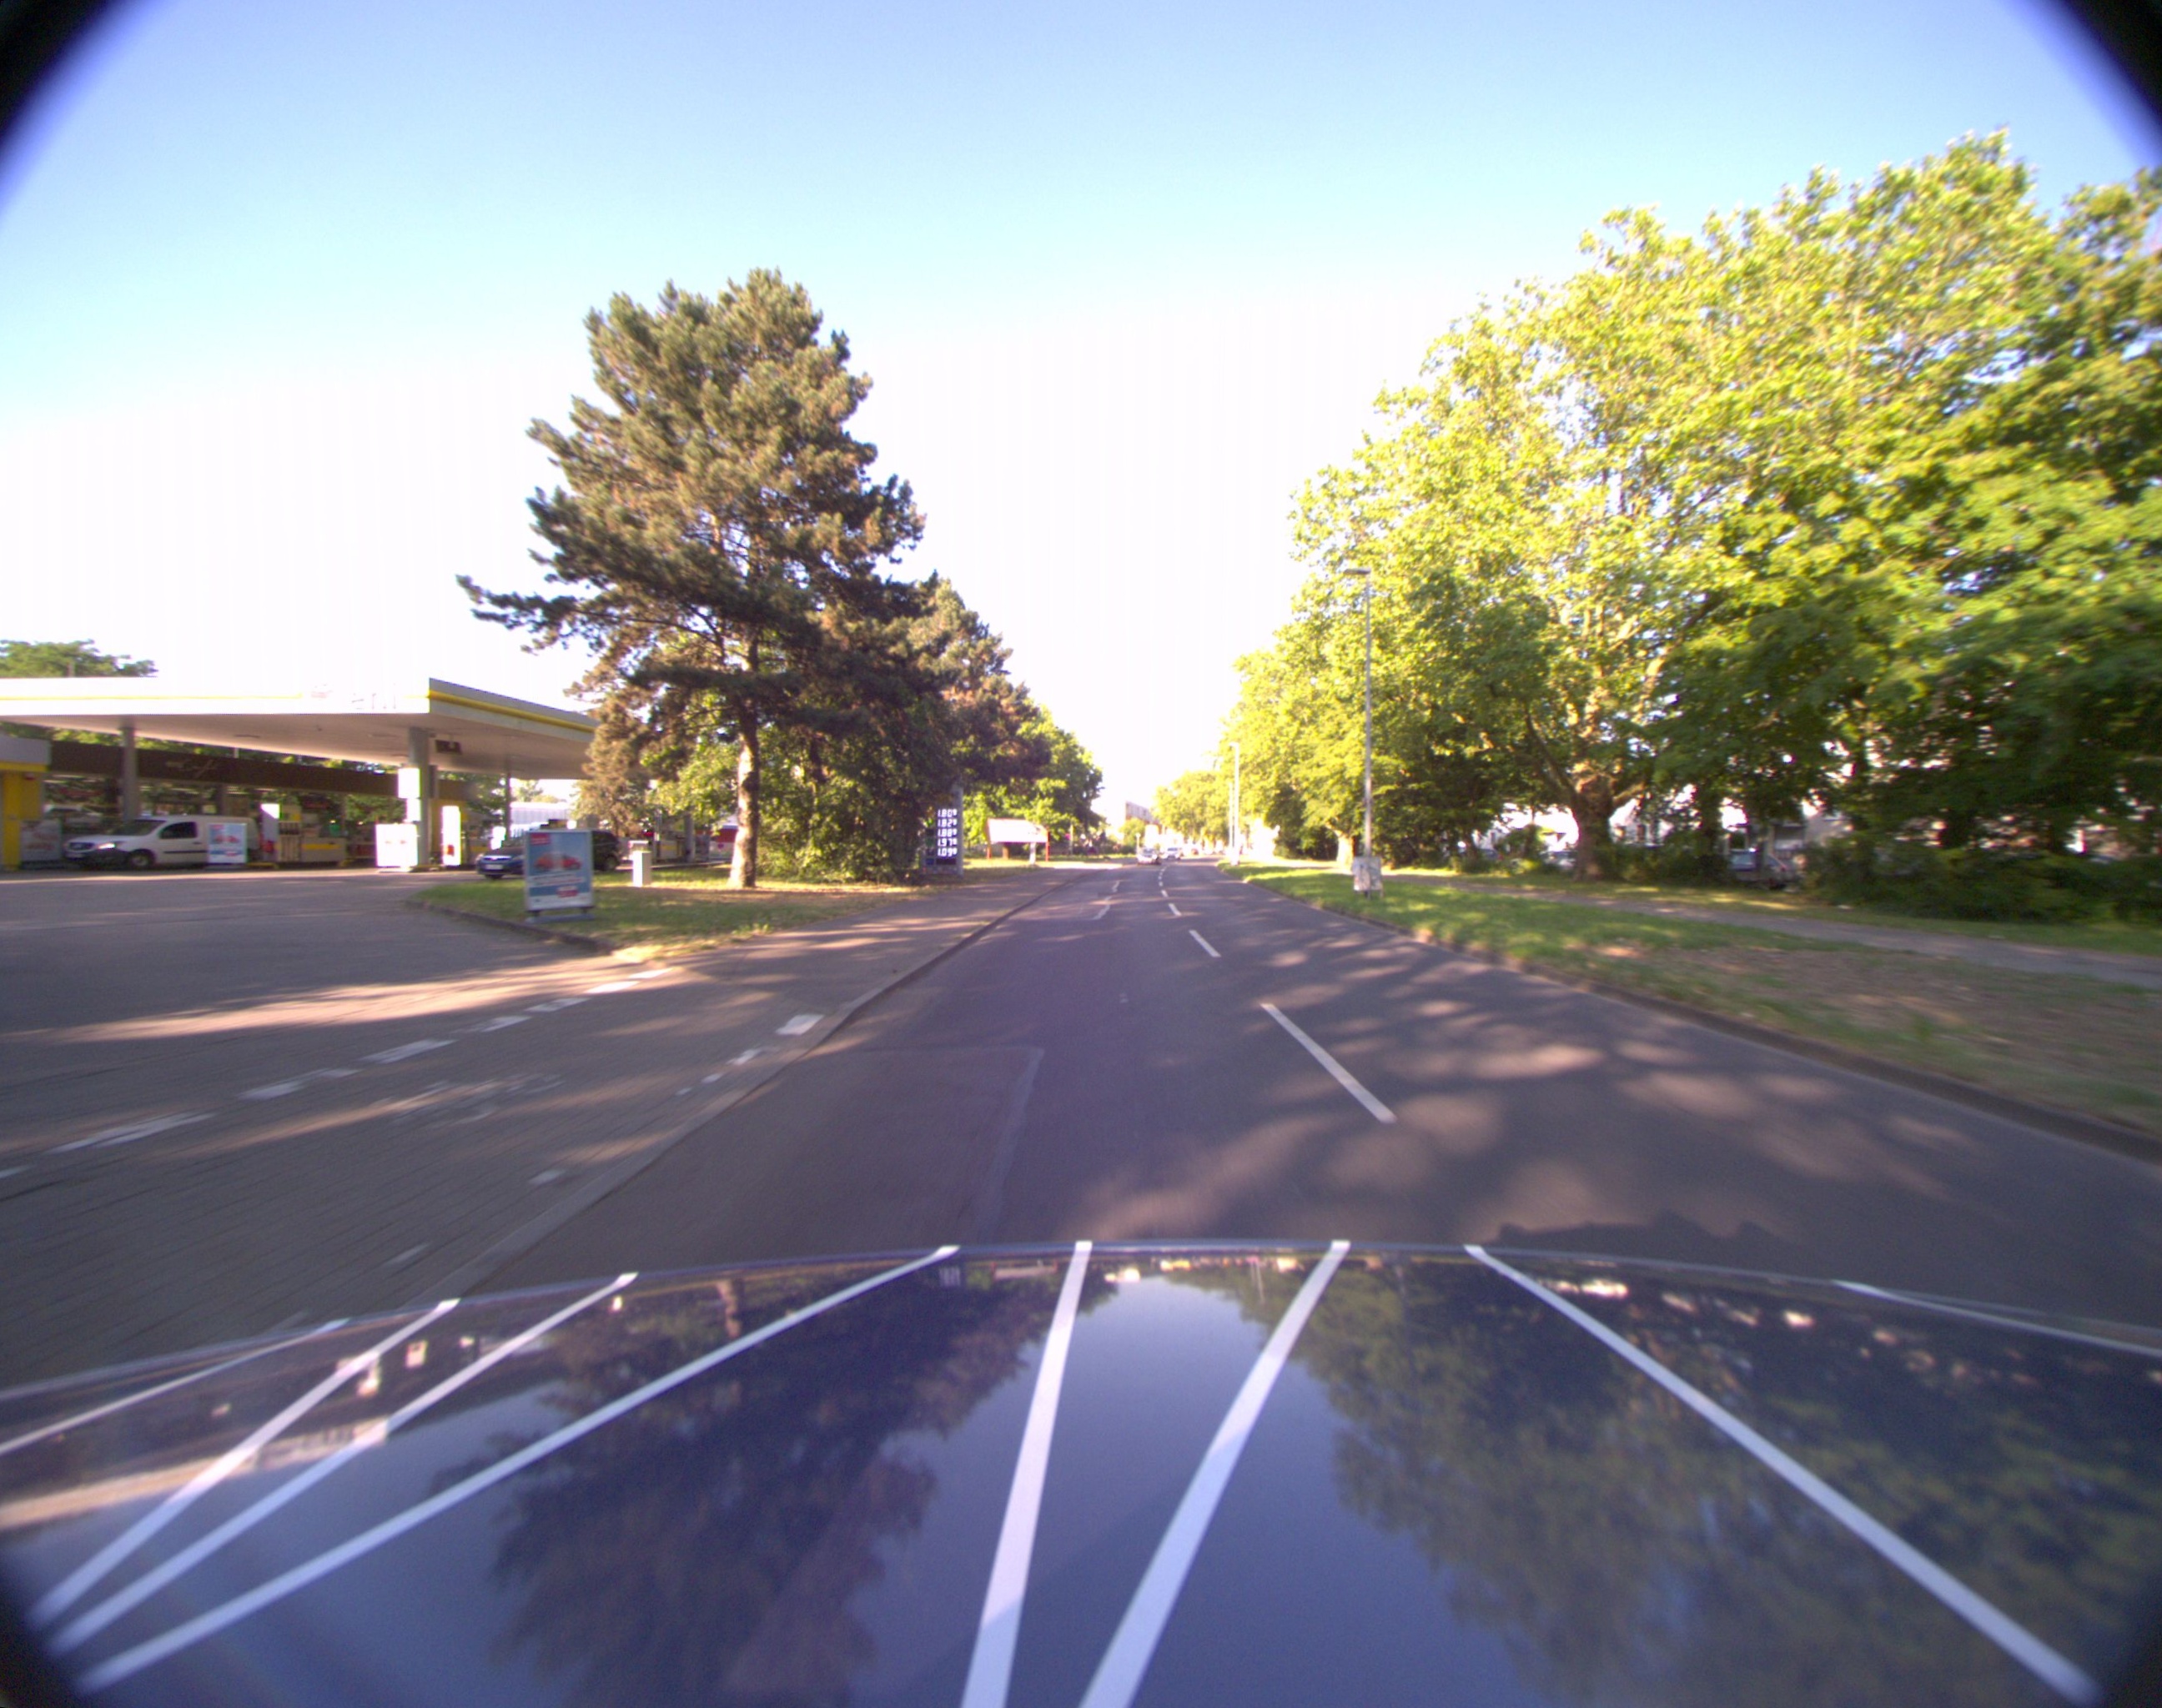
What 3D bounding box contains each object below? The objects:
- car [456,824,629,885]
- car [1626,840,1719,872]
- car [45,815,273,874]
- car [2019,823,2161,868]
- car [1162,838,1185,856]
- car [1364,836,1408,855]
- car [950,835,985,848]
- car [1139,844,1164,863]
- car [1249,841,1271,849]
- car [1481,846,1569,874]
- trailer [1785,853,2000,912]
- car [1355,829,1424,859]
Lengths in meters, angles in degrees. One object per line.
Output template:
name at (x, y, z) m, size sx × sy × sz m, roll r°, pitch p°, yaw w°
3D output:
car at (-16.163, -0.009, 23.163) m, size 1.928 × 1.637 × 4.476 m, roll 1°, pitch 1°, yaw 3°
car at (39.370, 0.124, 50.642) m, size 4.555 × 2.002 × 2.000 m, roll 0°, pitch 2°, yaw 3°
car at (-29.683, -0.375, 24.725) m, size 1.816 × 1.718 × 4.399 m, roll 1°, pitch 2°, yaw 6°
car at (38.897, -0.327, 28.886) m, size 3.997 × 1.592 × 1.929 m, roll 1°, pitch 1°, yaw 0°
car at (10.719, -0.863, 87.891) m, size 1.932 × 2.002 × 4.004 m, roll 1°, pitch 2°, yaw 16°
car at (32.916, -0.901, 82.105) m, size 3.995 × 2.032 × 1.909 m, roll 0°, pitch -1°, yaw 4°
car at (-14.580, -1.639, 97.386) m, size 4.432 × 1.584 × 2.004 m, roll 0°, pitch 1°, yaw 41°
car at (5.632, -0.037, 61.345) m, size 1.869 × 1.471 × 4.087 m, roll 1°, pitch 1°, yaw 4°
car at (33.423, -1.689, 141.752) m, size 3.993 × 1.410 × 1.916 m, roll -1°, pitch -1°, yaw 13°
car at (24.415, 0.313, 41.886) m, size 3.739 × 1.456 × 1.766 m, roll 1°, pitch 1°, yaw 1°
trailer at (23.555, 0.790, 22.200) m, size 3.996 × 1.547 × 2.000 m, roll 1°, pitch 1°, yaw 3°
car at (28.093, -0.928, 69.370) m, size 5.440 × 2.487 × 2.188 m, roll 2°, pitch 1°, yaw 9°
